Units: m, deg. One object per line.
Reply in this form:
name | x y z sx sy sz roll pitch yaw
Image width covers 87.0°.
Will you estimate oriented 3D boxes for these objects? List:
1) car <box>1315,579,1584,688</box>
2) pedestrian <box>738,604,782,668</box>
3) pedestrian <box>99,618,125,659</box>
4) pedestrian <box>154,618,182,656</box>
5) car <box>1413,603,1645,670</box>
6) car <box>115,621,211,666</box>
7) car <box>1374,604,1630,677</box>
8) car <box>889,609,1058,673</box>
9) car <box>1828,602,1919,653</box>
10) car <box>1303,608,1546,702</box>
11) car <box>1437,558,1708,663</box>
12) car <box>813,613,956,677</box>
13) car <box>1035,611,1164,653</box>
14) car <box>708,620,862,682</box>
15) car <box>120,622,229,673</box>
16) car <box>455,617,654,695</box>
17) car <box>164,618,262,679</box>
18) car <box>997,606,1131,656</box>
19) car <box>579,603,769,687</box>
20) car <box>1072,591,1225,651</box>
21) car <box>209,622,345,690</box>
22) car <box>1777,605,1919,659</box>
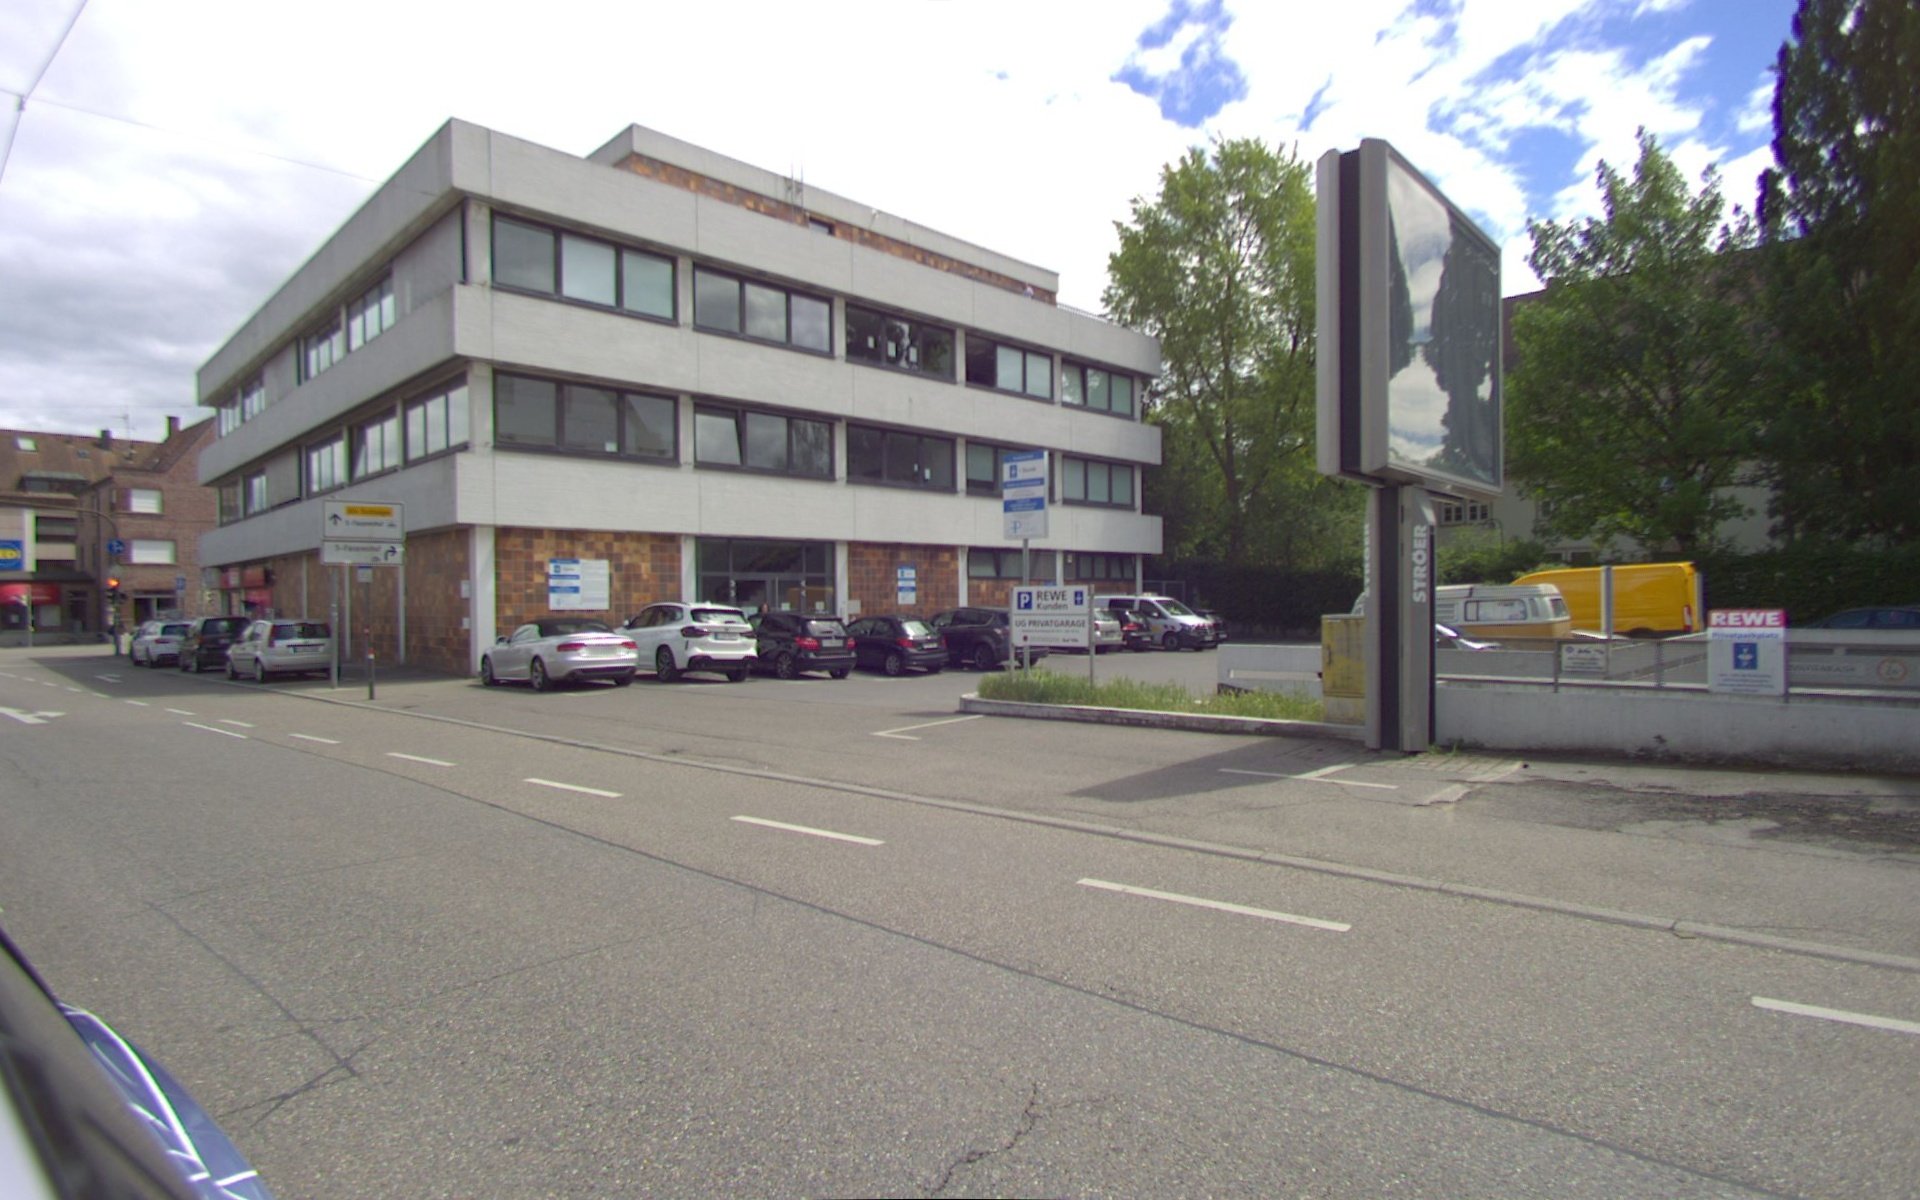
car | 9.965 0.666 20.883 4.649 2.004 1.817 -2 -1 44
pedestrian | -5.352 0.963 27.050 0.709 1.684 0.996 2 -3 -44
pedestrian | -34.791 1.579 41.516 0.682 1.657 0.709 -2 0 45
pedestrian | -33.687 1.561 43.034 0.809 1.566 0.846 -2 0 -45
car | 13.505 0.860 24.217 1.791 1.449 4.510 2 -3 -45
car | -29.044 1.555 36.841 4.283 1.486 2.023 -2 0 42
car | 11.913 0.860 22.476 1.791 1.449 4.685 0 -1 -45
car | 0.289 1.090 27.492 4.497 1.590 1.900 -2 -2 44
car | 25.450 0.710 26.747 1.692 1.294 3.664 0 -1 -45
car | 8.493 0.958 18.628 3.751 1.541 1.795 -1 -1 38
car | 16.421 0.333 27.420 5.977 2.549 2.039 -1 -2 43
car | -2.029 1.136 26.518 3.604 1.558 1.744 -2 -1 42
car | 4.629 1.071 33.923 1.825 1.304 4.003 0 -1 -44
car | -4.194 1.168 23.990 3.604 1.341 1.744 -2 -1 42
car | -25.427 1.492 32.692 4.953 1.455 2.022 -2 0 44
car | -8.261 1.051 20.366 4.857 1.368 1.929 -2 -1 44
car | -21.233 1.329 28.730 3.057 1.567 1.717 -2 0 43
car | 3.279 0.978 32.310 1.825 1.472 4.003 0 -1 -44
car | -6.373 0.981 22.163 1.928 1.632 4.933 3 -4 -43
car | 6.550 0.723 35.649 1.945 1.956 5.092 0 -1 -44
car | -16.552 1.297 24.450 4.146 1.433 1.704 -2 0 41
car | 23.034 0.782 25.470 1.692 1.294 3.664 0 -1 -45
